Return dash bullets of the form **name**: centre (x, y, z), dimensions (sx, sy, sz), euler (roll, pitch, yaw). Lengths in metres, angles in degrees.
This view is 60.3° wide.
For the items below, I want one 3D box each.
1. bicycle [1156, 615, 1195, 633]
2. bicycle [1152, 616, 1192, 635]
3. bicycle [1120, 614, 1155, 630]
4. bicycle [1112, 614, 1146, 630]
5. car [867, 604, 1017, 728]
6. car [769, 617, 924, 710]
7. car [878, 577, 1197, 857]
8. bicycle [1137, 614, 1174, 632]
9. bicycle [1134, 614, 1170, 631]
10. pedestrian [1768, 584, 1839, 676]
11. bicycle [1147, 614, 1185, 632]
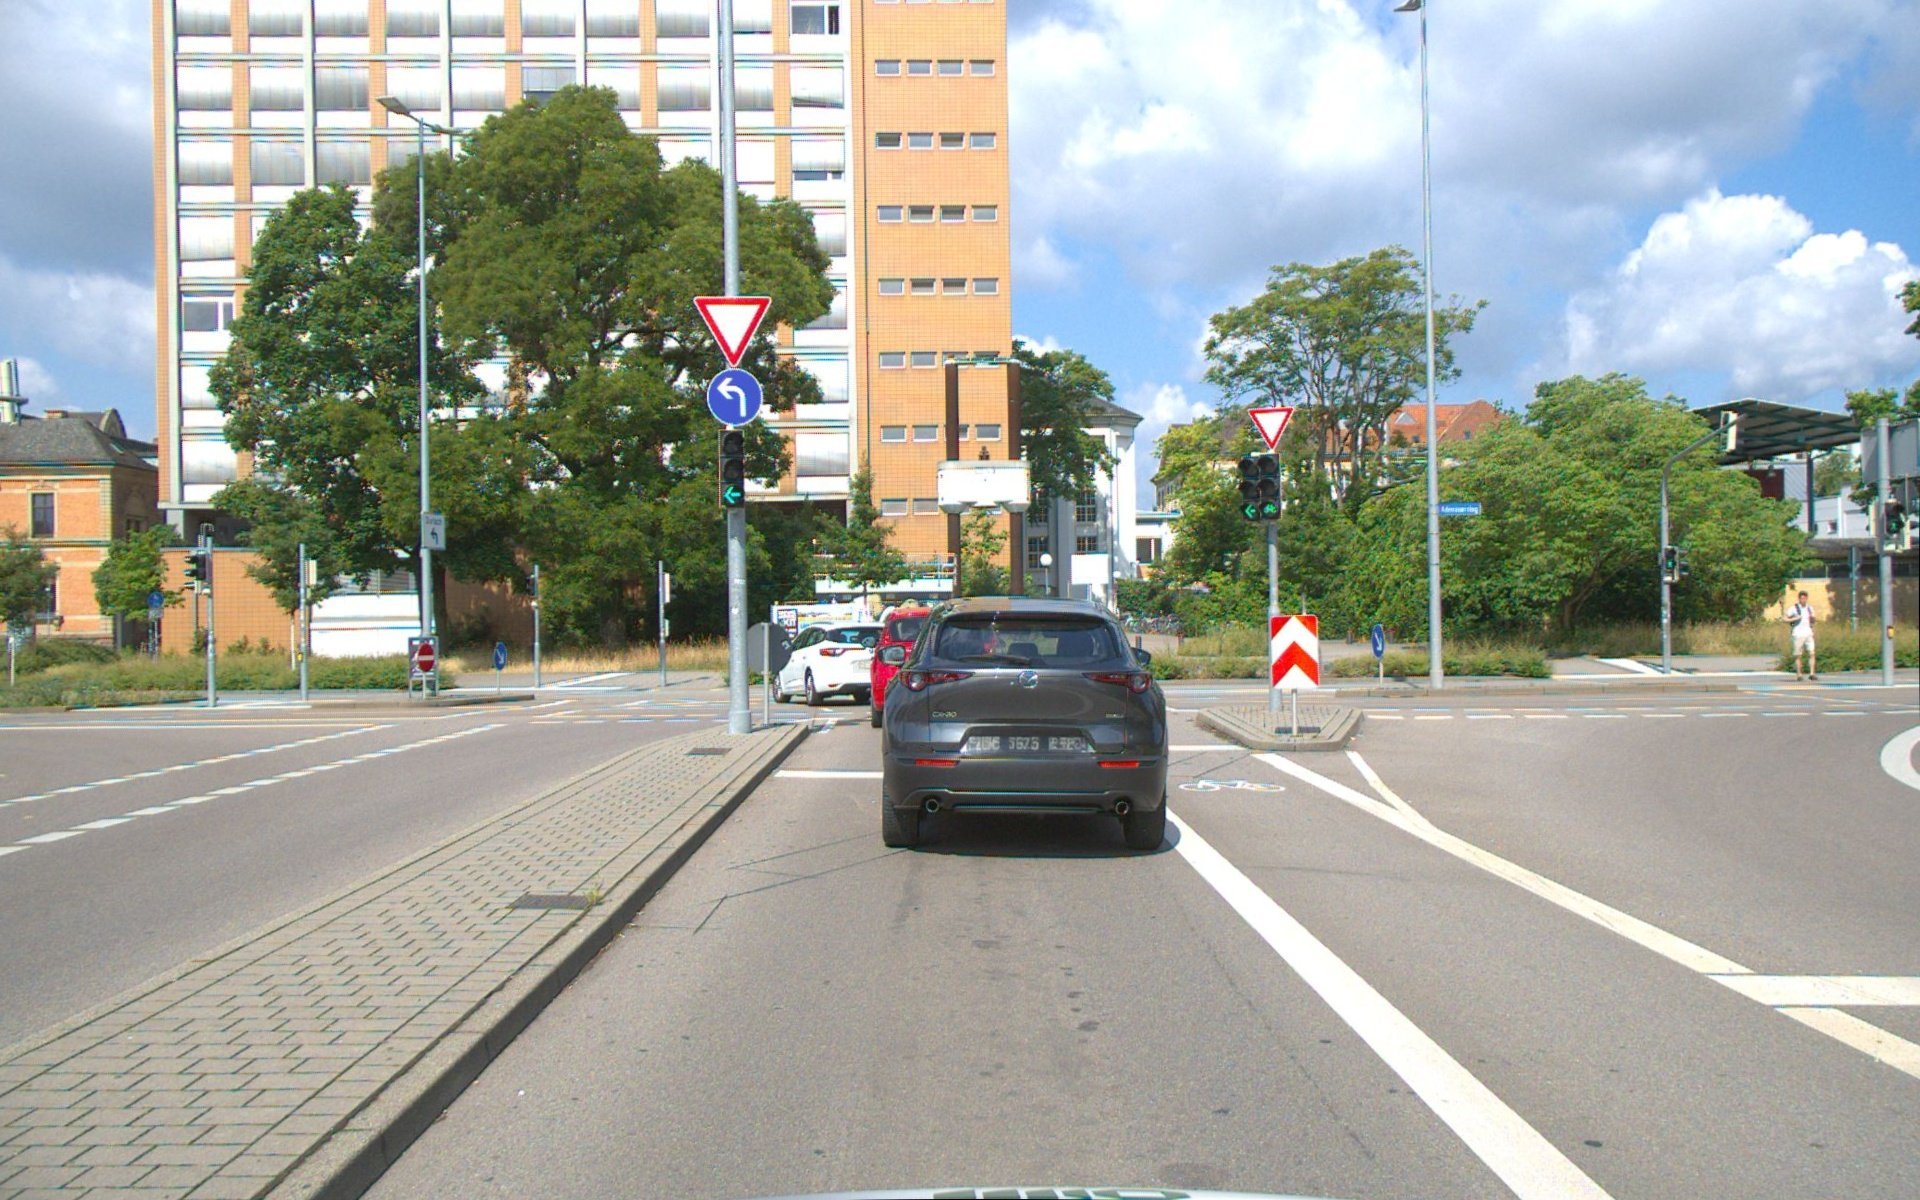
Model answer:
- **bicycle**: centre (11.838, 1.301, 90.898), dimensions (2.013, 0.953, 0.804), euler (-1, -1, -2)
- **bicycle**: centre (11.286, 1.370, 88.206), dimensions (2.013, 0.953, 0.804), euler (-1, -1, -2)
- **bicycle**: centre (10.749, 1.346, 100.387), dimensions (2.013, 0.953, 0.804), euler (-1, -1, -2)
- **bicycle**: centre (10.742, 1.377, 105.246), dimensions (2.013, 0.953, 0.804), euler (-1, -1, -2)
- **car**: centre (-0.298, 0.808, 21.800), dimensions (1.780, 1.465, 4.065), euler (0, 0, -2)
- **car**: centre (-2.120, 1.077, 29.761), dimensions (1.819, 1.498, 4.314), euler (-1, 0, -17)
- **car**: centre (0.387, 0.668, 11.433), dimensions (1.769, 1.534, 4.203), euler (1, 0, -2)
- **bicycle**: centre (11.321, 1.325, 95.667), dimensions (2.013, 0.953, 0.804), euler (-1, -1, -2)
- **bicycle**: centre (11.227, 1.328, 96.660), dimensions (2.013, 0.953, 0.804), euler (-1, -1, -2)
- **pedestrian**: centre (17.805, 0.649, 34.927), dimensions (0.684, 1.890, 1.177), euler (-1, -2, -11)
- **bicycle**: centre (11.491, 1.304, 92.206), dimensions (2.013, 0.953, 0.804), euler (-1, -1, -2)
